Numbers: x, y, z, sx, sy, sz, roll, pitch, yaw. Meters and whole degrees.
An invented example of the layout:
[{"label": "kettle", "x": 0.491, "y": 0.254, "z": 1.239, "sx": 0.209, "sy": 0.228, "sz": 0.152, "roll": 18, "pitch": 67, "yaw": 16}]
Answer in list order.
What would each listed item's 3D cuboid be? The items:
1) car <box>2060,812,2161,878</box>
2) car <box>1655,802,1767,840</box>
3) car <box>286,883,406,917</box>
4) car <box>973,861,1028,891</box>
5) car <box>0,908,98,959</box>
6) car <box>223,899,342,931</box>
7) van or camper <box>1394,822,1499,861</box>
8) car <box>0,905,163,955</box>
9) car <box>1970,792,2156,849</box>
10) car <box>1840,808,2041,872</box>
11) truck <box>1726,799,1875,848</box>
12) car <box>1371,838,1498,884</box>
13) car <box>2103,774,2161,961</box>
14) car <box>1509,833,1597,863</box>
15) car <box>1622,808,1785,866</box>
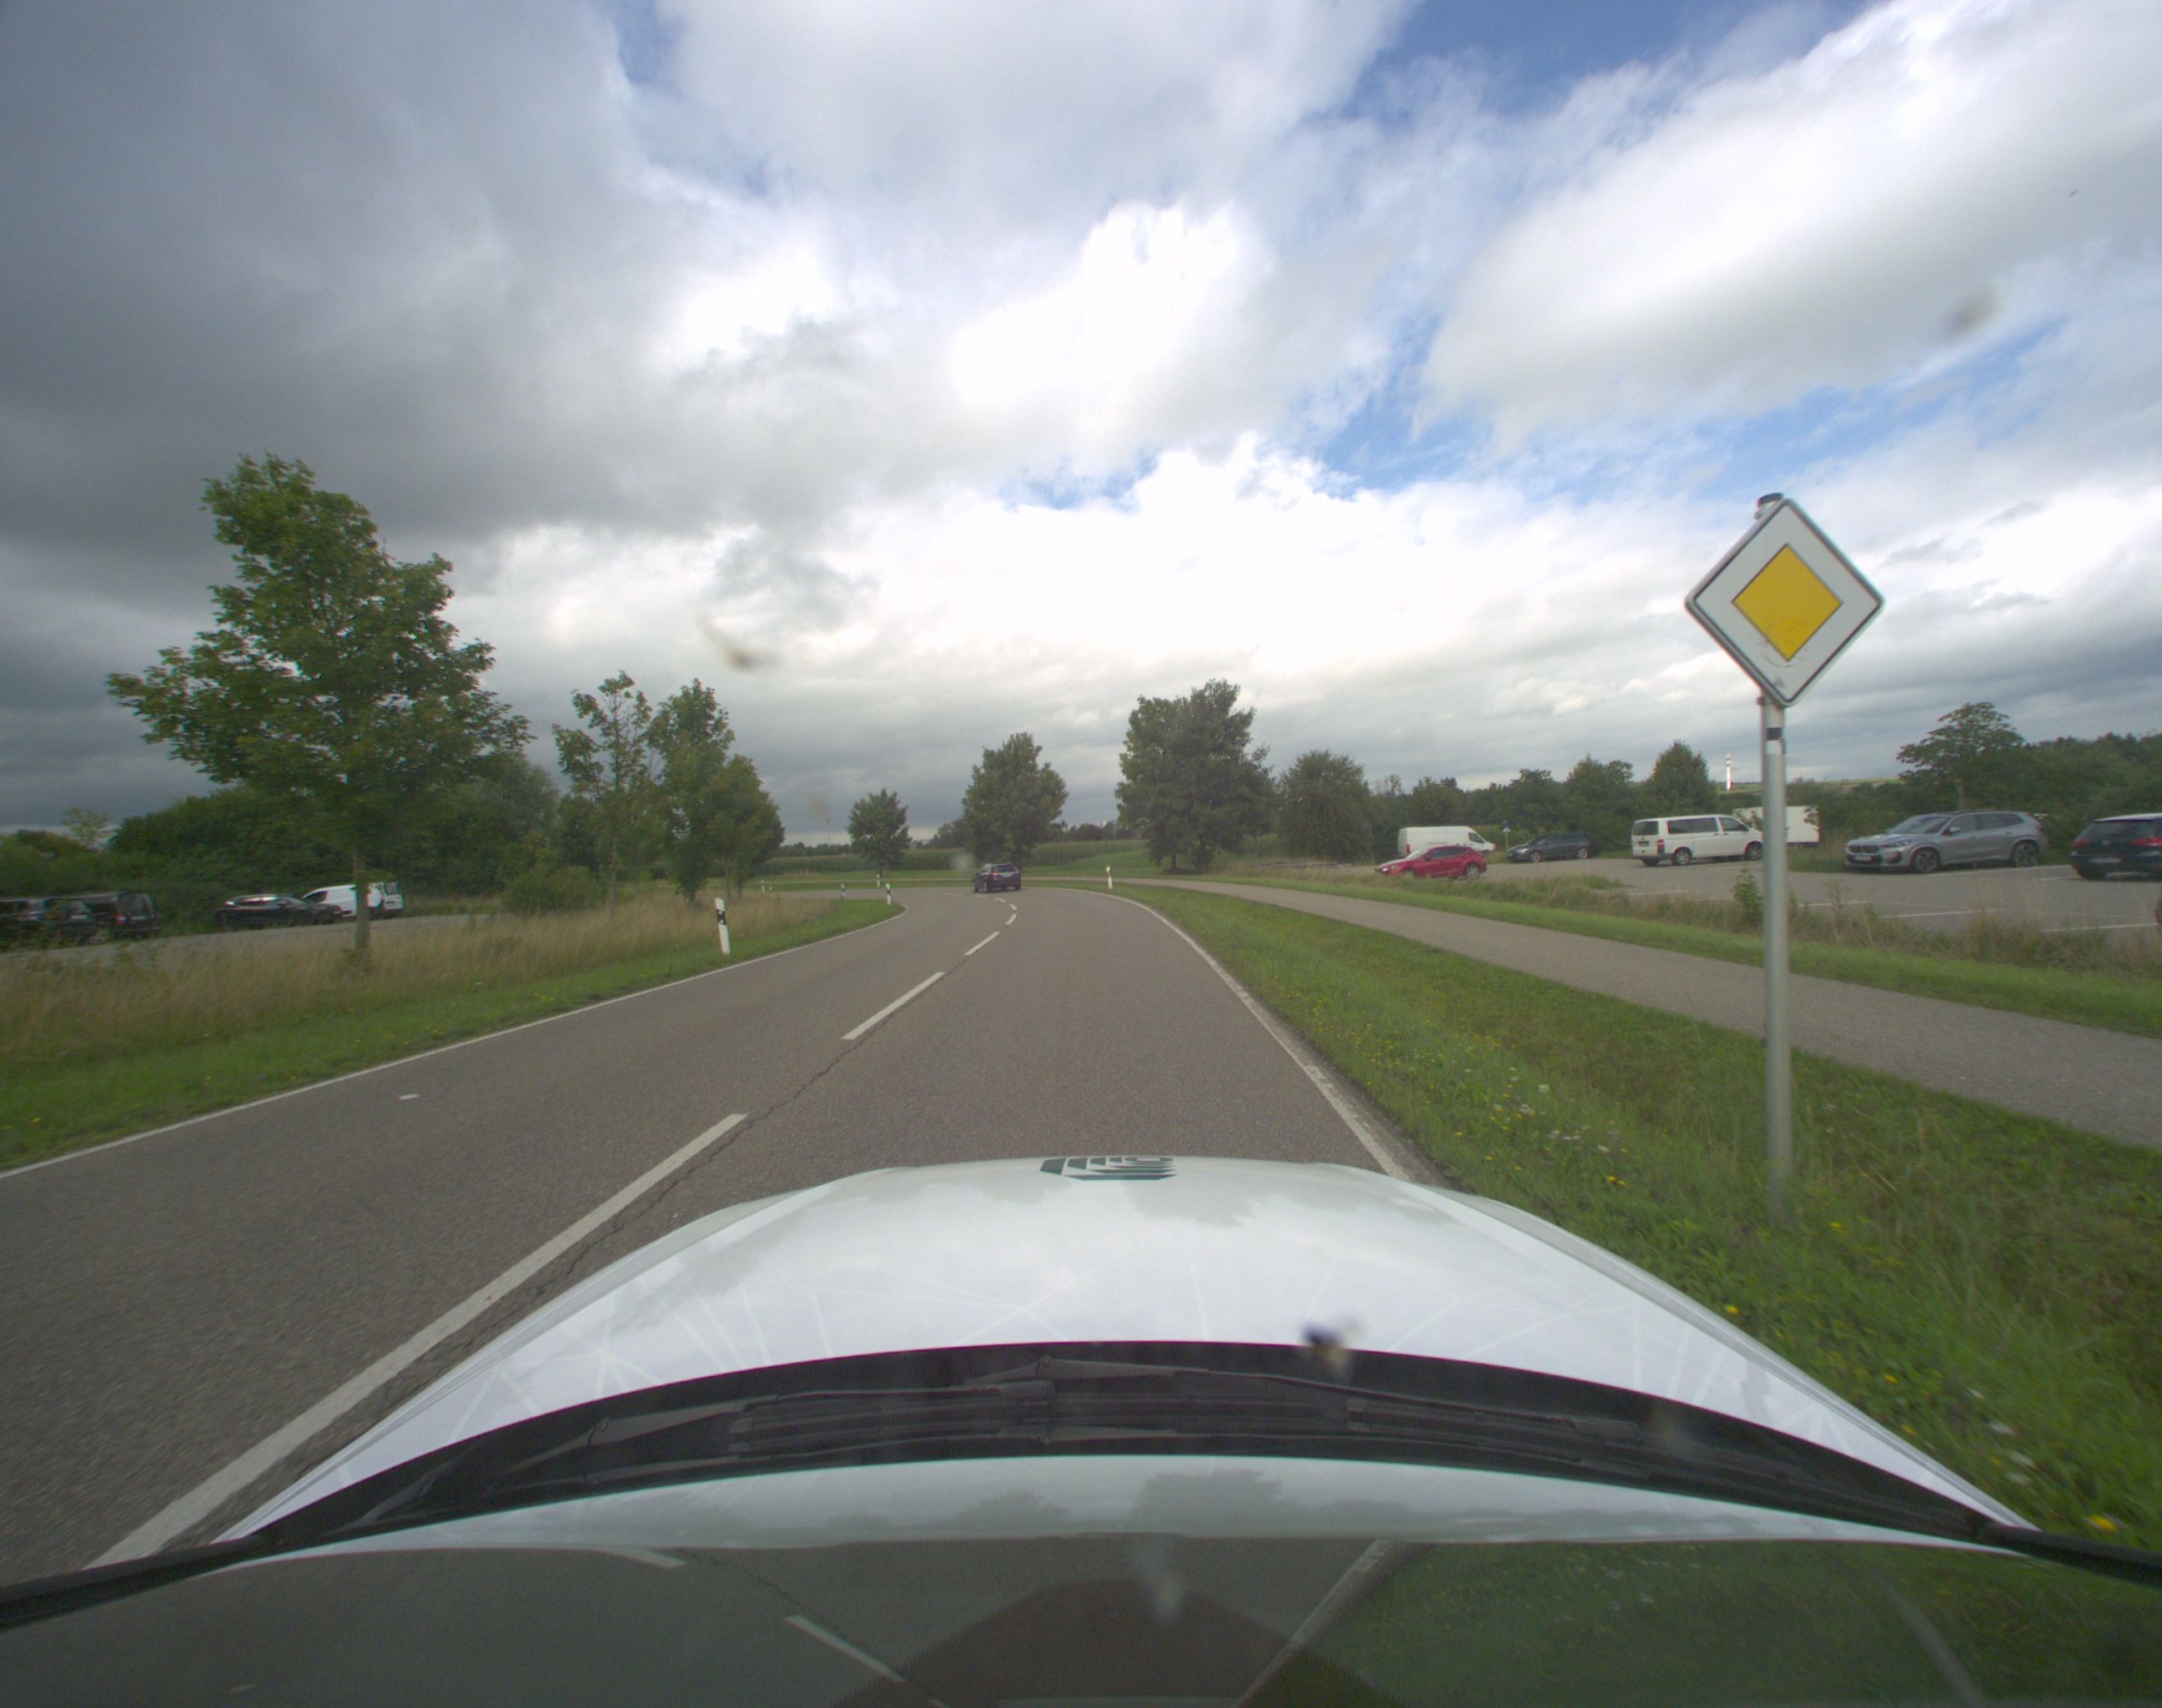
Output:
[{"label": "car", "x": 24.432, "y": -0.259, "z": 18.075, "sx": 3.684, "sy": 1.391, "sz": 1.755, "roll": -2, "pitch": 0, "yaw": -7}, {"label": "car", "x": 29.826, "y": -1.562, "z": 38.591, "sx": 3.986, "sy": 1.596, "sz": 1.994, "roll": -2, "pitch": 0, "yaw": -9}, {"label": "car", "x": -35.440, "y": 2.186, "z": 39.399, "sx": 3.999, "sy": 1.380, "sz": 1.466, "roll": -2, "pitch": 0, "yaw": -19}, {"label": "car", "x": -4.220, "y": 1.095, "z": 42.276, "sx": 1.848, "sy": 1.417, "sz": 3.971, "roll": -2, "pitch": 0, "yaw": -21}, {"label": "car", "x": -33.162, "y": 2.482, "z": 24.698, "sx": 4.006, "sy": 1.380, "sz": 1.464, "roll": -2, "pitch": 0, "yaw": -25}, {"label": "car", "x": -35.533, "y": 2.710, "z": 36.312, "sx": 3.609, "sy": 1.167, "sz": 1.327, "roll": -2, "pitch": 0, "yaw": -13}, {"label": "van or camper", "x": 26.663, "y": -0.895, "z": 59.532, "sx": 6.717, "sy": 2.562, "sz": 2.050, "roll": -2, "pitch": 0, "yaw": 1}, {"label": "car", "x": -34.278, "y": 2.556, "z": 27.533, "sx": 4.005, "sy": 1.380, "sz": 1.464, "roll": -2, "pitch": 0, "yaw": -24}, {"label": "car", "x": 31.034, "y": -1.039, "z": 25.809, "sx": 3.986, "sy": 1.596, "sz": 1.994, "roll": -2, "pitch": 0, "yaw": -9}, {"label": "car", "x": 24.209, "y": -0.375, "z": 23.059, "sx": 3.671, "sy": 1.607, "sz": 1.761, "roll": -2, "pitch": 0, "yaw": 4}, {"label": "truck", "x": 44.985, "y": -1.859, "z": 51.070, "sx": 6.857, "sy": 2.715, "sz": 2.831, "roll": -2, "pitch": 0, "yaw": 0}, {"label": "car", "x": 14.412, "y": 0.284, "z": 33.370, "sx": 4.319, "sy": 1.575, "sz": 1.969, "roll": -3, "pitch": 0, "yaw": -3}, {"label": "car", "x": 13.843, "y": 0.057, "z": 8.149, "sx": 4.933, "sy": 1.974, "sz": 1.953, "roll": -2, "pitch": 0, "yaw": -2}, {"label": "car", "x": 24.940, "y": -0.321, "z": 43.108, "sx": 3.614, "sy": 1.439, "sz": 1.706, "roll": -2, "pitch": 0, "yaw": 0}, {"label": "car", "x": 25.316, "y": -0.684, "z": 33.247, "sx": 5.014, "sy": 2.000, "sz": 2.229, "roll": -3, "pitch": 0, "yaw": -3}]
